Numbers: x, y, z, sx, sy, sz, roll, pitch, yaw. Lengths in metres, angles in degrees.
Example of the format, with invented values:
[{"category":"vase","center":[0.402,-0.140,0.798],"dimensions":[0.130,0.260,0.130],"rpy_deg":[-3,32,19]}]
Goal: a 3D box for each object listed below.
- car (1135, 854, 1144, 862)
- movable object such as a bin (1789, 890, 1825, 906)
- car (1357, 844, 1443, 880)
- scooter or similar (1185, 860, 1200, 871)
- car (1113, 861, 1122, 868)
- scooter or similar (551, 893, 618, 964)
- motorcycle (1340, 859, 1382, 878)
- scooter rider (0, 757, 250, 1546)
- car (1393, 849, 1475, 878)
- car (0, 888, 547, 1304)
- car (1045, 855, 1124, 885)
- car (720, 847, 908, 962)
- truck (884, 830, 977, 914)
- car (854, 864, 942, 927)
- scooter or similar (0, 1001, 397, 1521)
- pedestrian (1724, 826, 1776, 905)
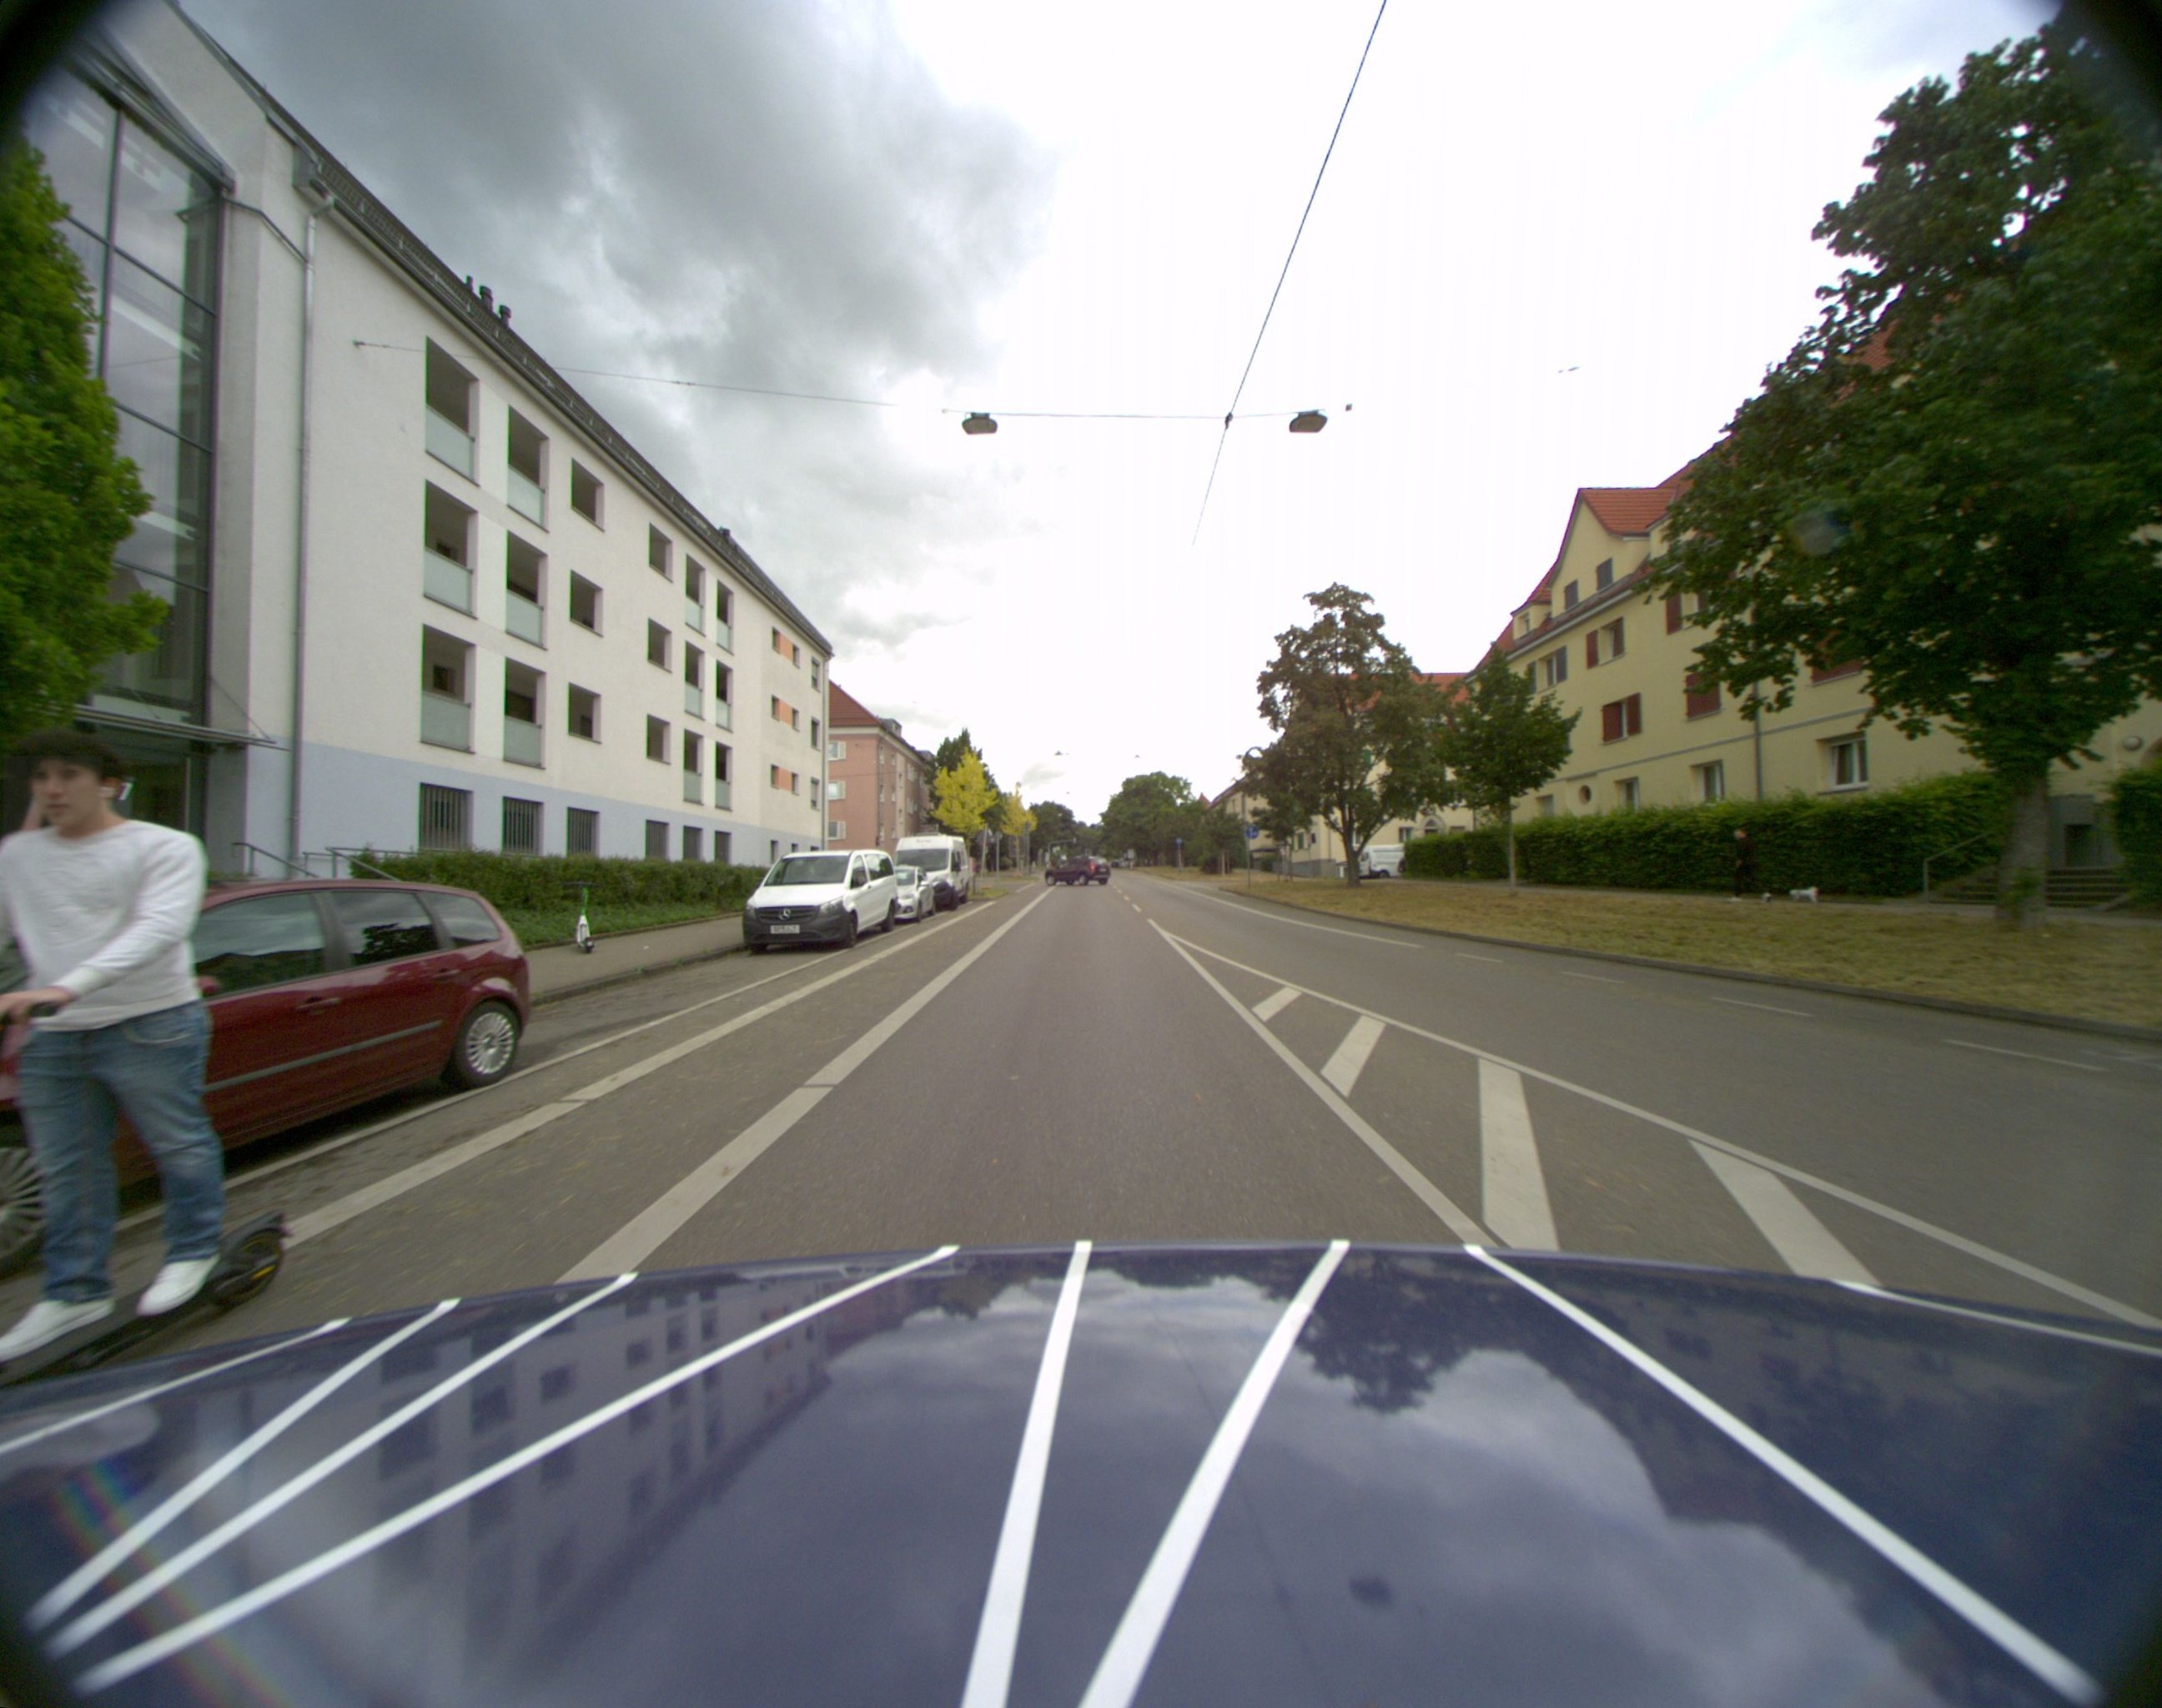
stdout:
[{"category":"car","center":[13.711,0.947,178.102],"dimensions":[1.860,1.596,4.001],"rpy_deg":[-1,0,2]},{"category":"movable object such as a bin","center":[16.351,0.989,17.119],"dimensions":[0.307,0.345,0.581],"rpy_deg":[-1,0,6]},{"category":"car","center":[20.690,0.495,49.412],"dimensions":[4.729,2.240,1.995],"rpy_deg":[-1,0,1]},{"category":"scooter or similar","center":[11.002,1.092,74.862],"dimensions":[1.374,1.080,0.466],"rpy_deg":[0,0,-4]},{"category":"car","center":[9.188,2.574,188.620],"dimensions":[1.998,1.674,4.002],"rpy_deg":[-1,0,6]},{"category":"scooter or similar","center":[-8.332,1.219,12.728],"dimensions":[1.382,1.098,0.471],"rpy_deg":[-1,0,37]},{"category":"motorcycle","center":[19.446,1.002,52.805],"dimensions":[2.598,1.271,1.019],"rpy_deg":[0,1,33]},{"category":"scooter rider","center":[-3.072,0.759,2.118],"dimensions":[0.627,2.002,0.758],"rpy_deg":[-1,0,0]},{"category":"car","center":[20.573,0.592,44.396],"dimensions":[3.914,1.520,1.692],"rpy_deg":[-1,-3,0]},{"category":"car","center":[-5.166,1.047,3.978],"dimensions":[1.685,1.535,4.339],"rpy_deg":[-1,0,-1]},{"category":"car","center":[0.152,0.897,43.835],"dimensions":[4.349,1.610,1.909],"rpy_deg":[-1,0,42]},{"category":"car","center":[-5.187,0.889,15.676],"dimensions":[1.998,1.932,5.211],"rpy_deg":[-1,0,0]},{"category":"truck","center":[-5.027,0.577,26.204],"dimensions":[2.058,2.550,5.689],"rpy_deg":[-1,0,0]},{"category":"car","center":[-4.910,1.061,20.839],"dimensions":[1.529,1.477,3.726],"rpy_deg":[-2,0,-1]},{"category":"scooter or similar","center":[-3.106,1.186,2.124],"dimensions":[0.492,1.156,2.075],"rpy_deg":[-1,0,0]},{"category":"pedestrian","center":[15.334,0.259,17.430],"dimensions":[0.515,1.769,0.753],"rpy_deg":[-1,0,0]}]
